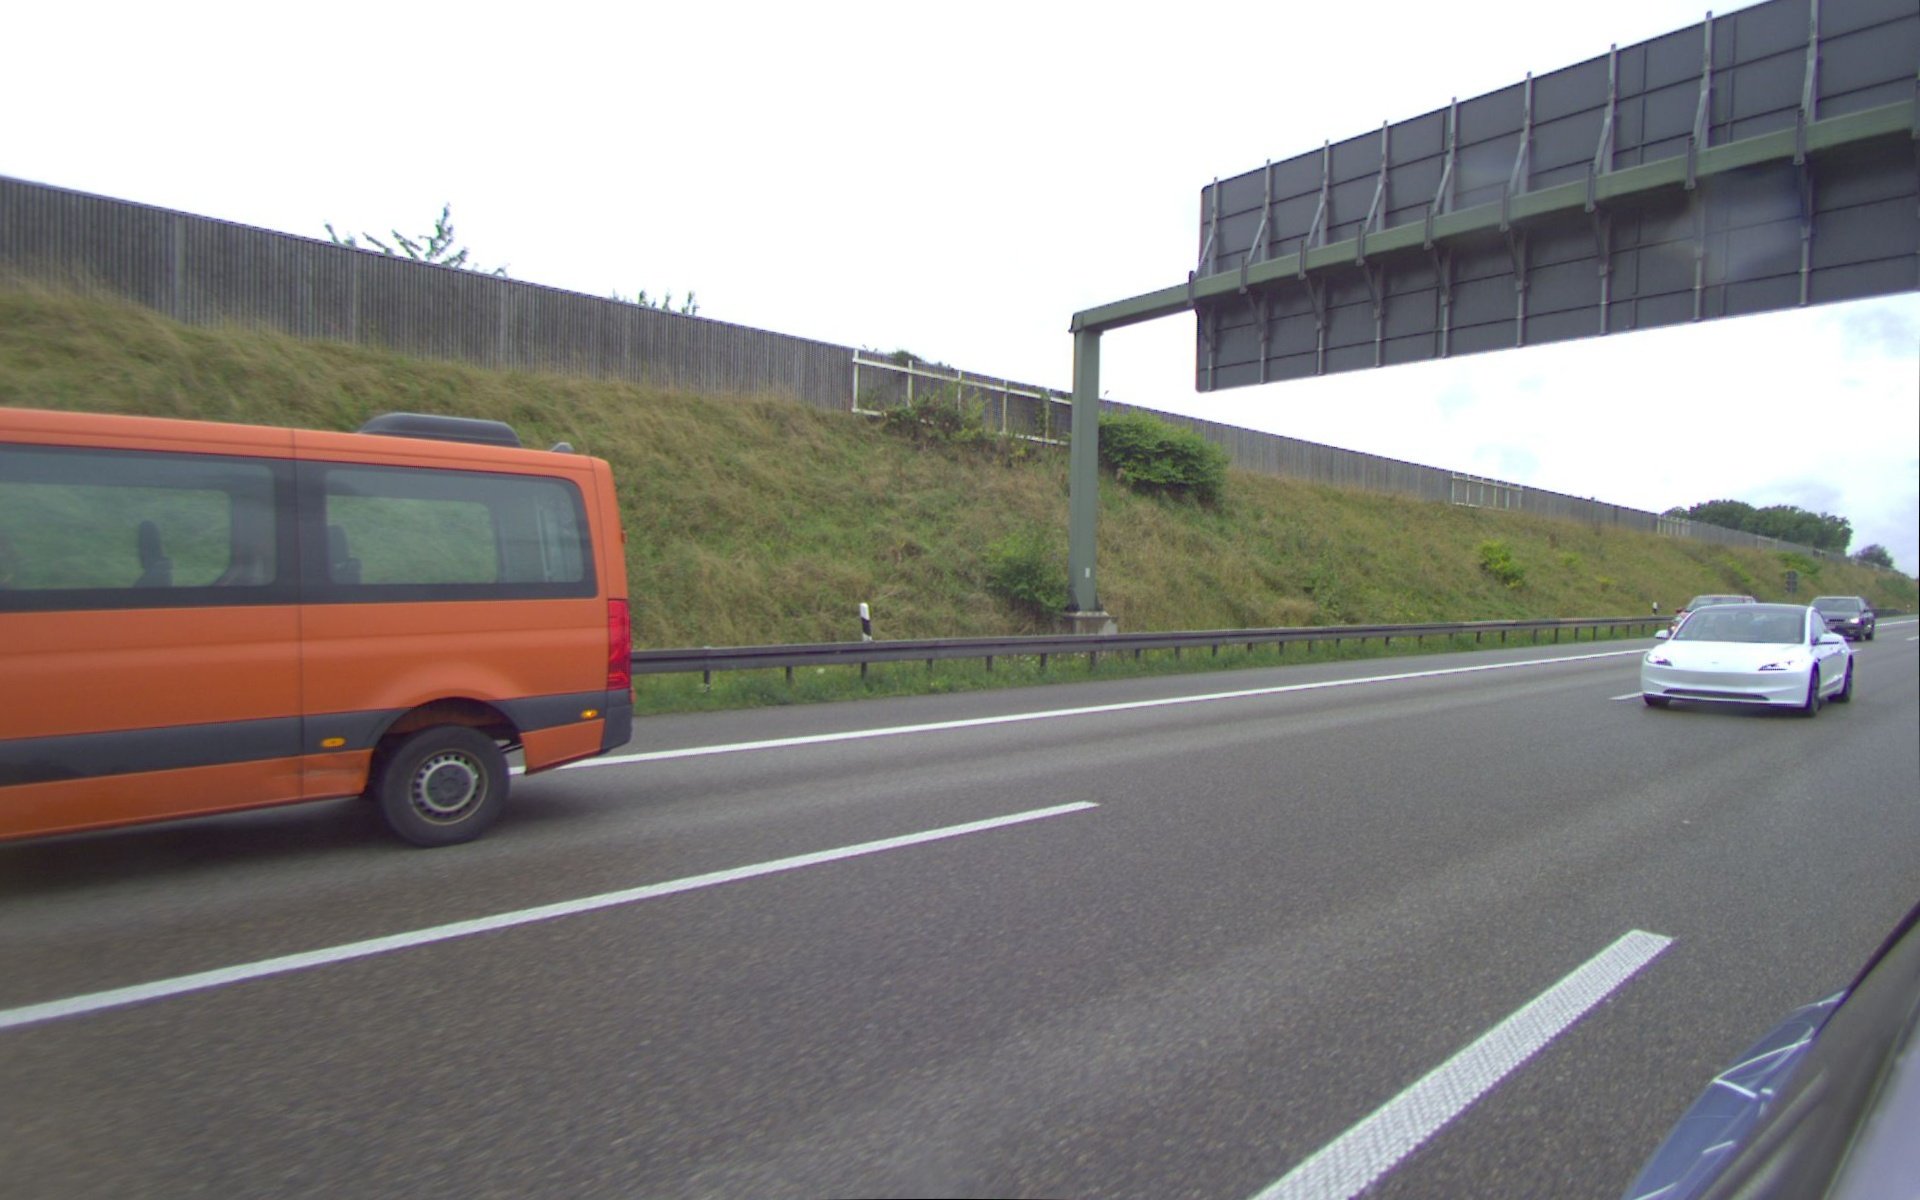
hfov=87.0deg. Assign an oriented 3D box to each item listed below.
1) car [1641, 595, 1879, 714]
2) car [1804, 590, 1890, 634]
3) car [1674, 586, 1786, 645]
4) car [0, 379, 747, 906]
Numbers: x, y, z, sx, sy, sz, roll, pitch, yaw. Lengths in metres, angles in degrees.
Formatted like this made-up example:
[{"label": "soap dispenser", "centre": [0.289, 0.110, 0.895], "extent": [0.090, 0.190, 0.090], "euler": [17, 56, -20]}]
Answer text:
[{"label": "car", "centre": [11.522, 0.645, 14.446], "extent": [4.730, 1.380, 1.876], "euler": [-1, 1, -42]}, {"label": "car", "centre": [32.964, 0.407, 37.581], "extent": [4.409, 1.507, 1.927], "euler": [-1, 1, -42]}, {"label": "car", "centre": [22.199, 0.390, 29.137], "extent": [3.932, 1.554, 1.876], "euler": [-1, 1, -42]}, {"label": "car", "centre": [-4.422, 0.171, 5.781], "extent": [6.076, 2.344, 2.088], "euler": [0, 1, -43]}]
